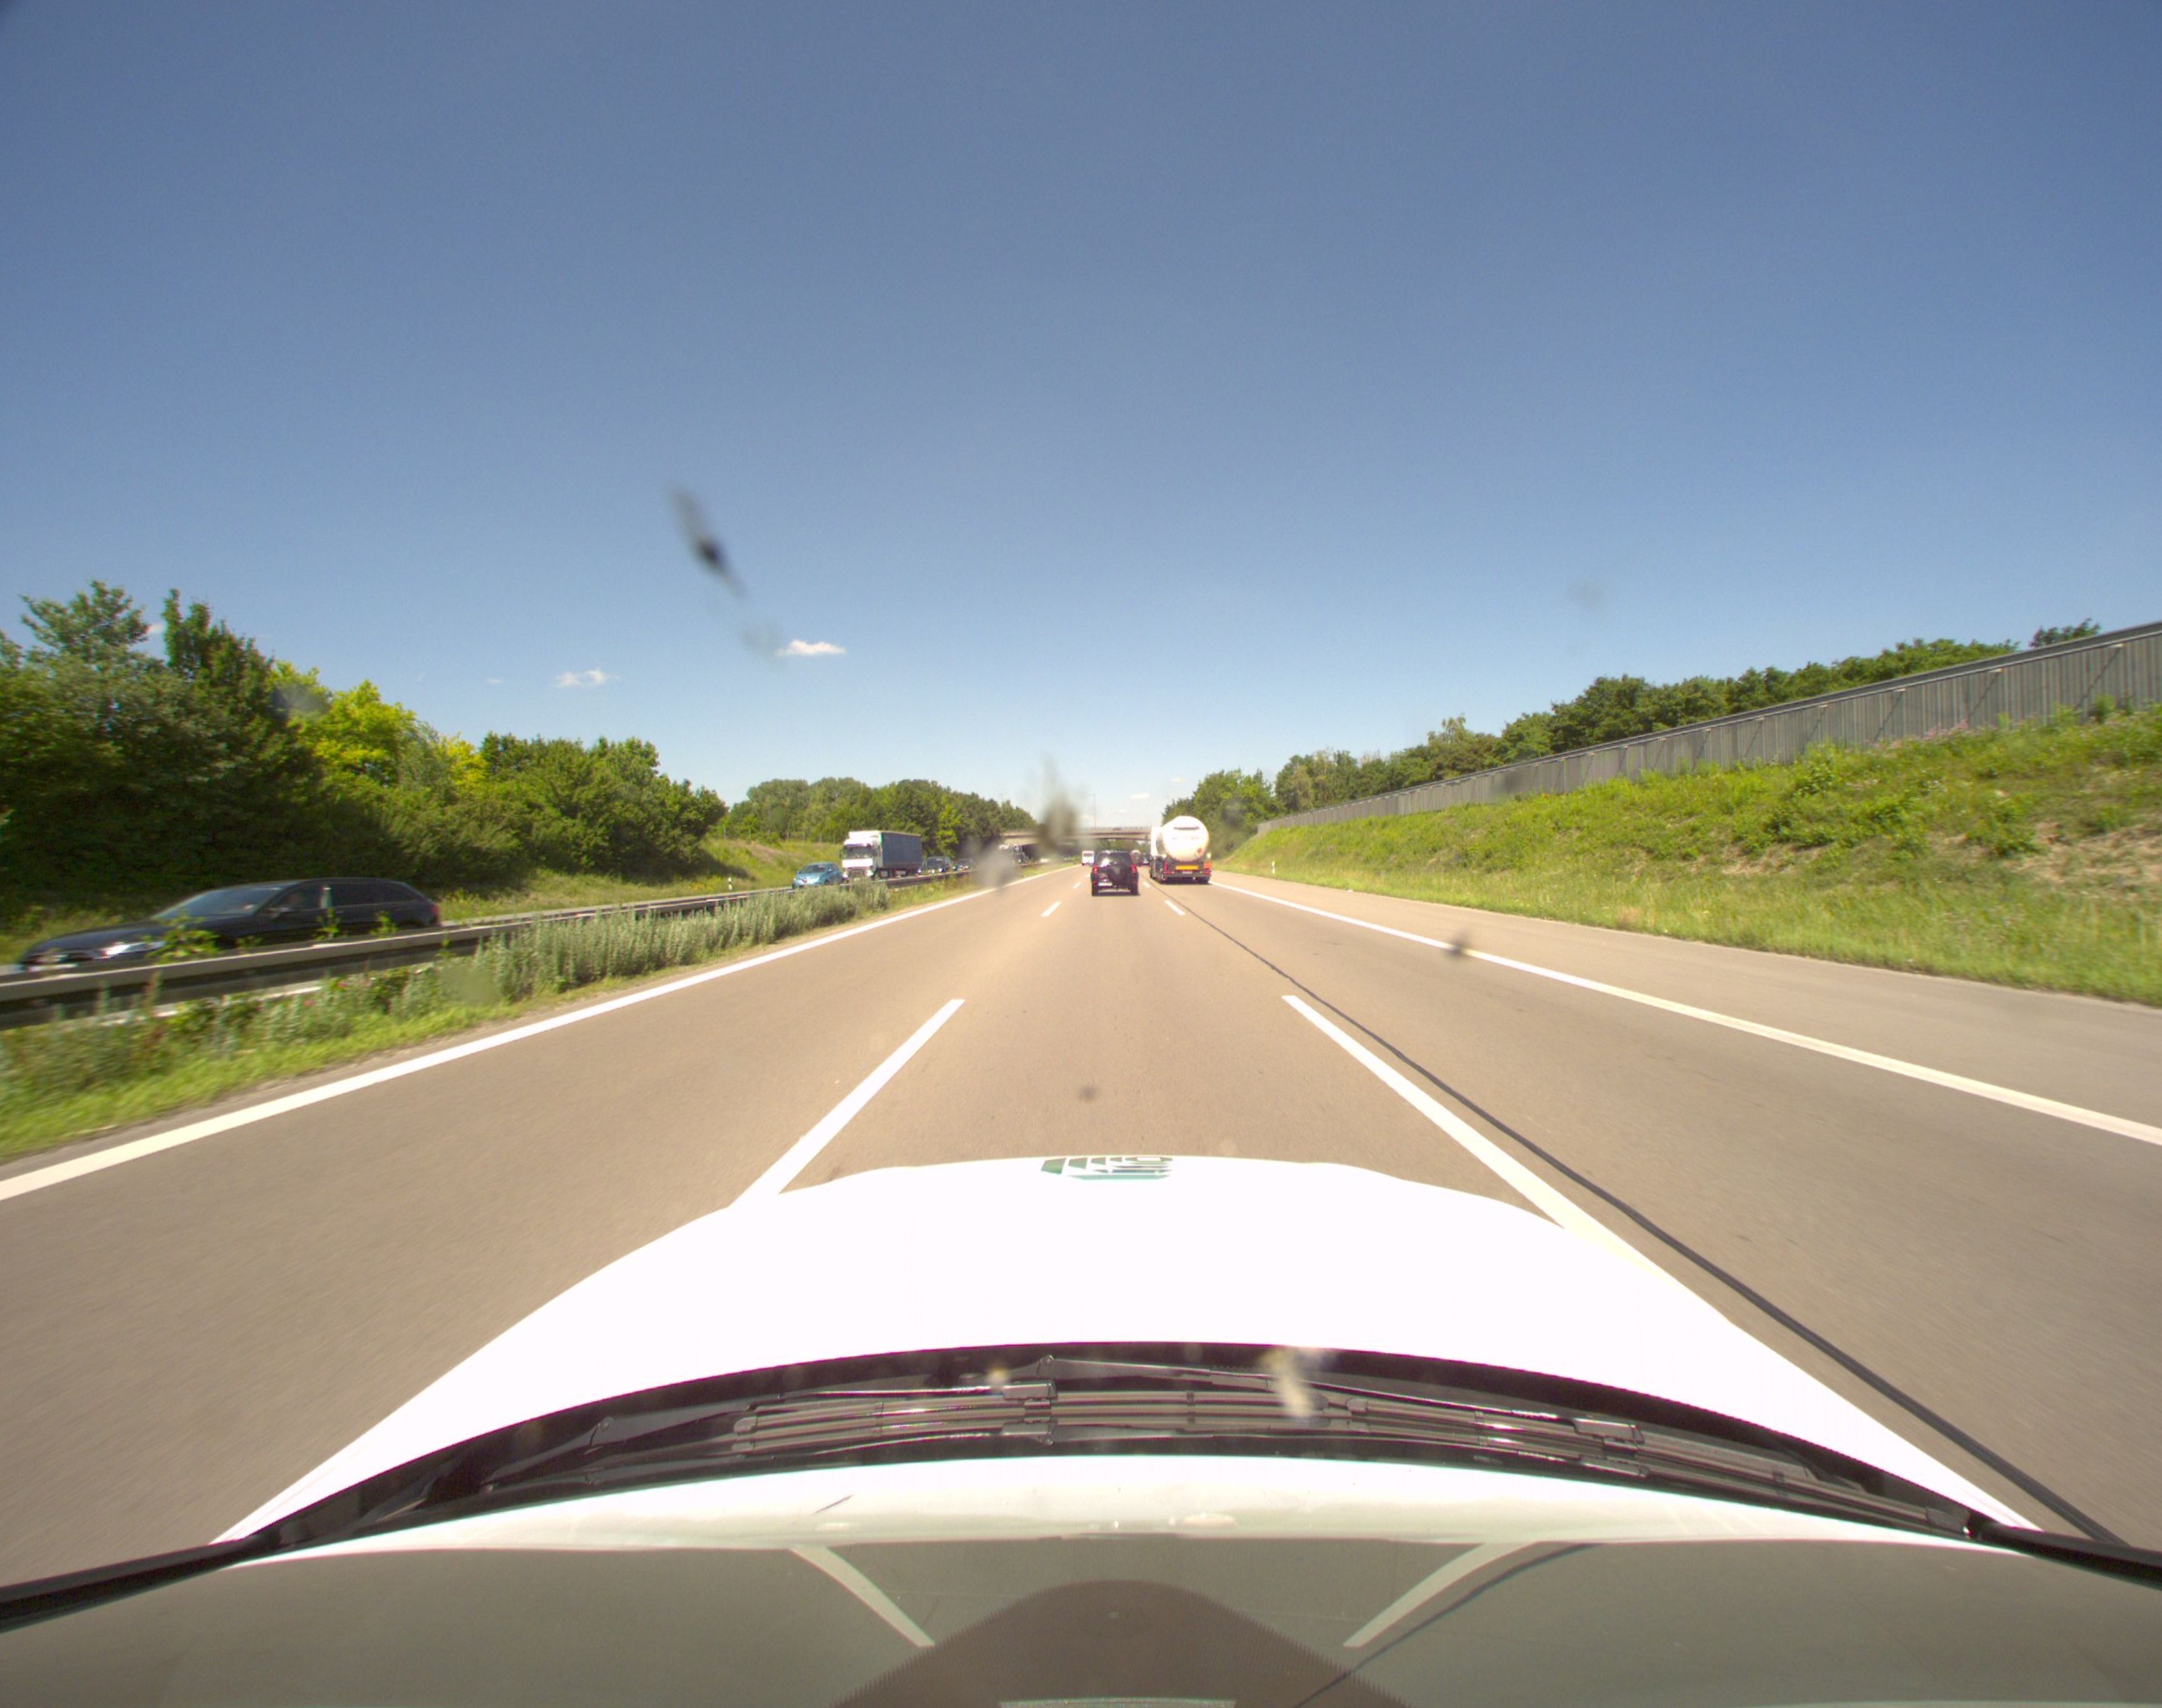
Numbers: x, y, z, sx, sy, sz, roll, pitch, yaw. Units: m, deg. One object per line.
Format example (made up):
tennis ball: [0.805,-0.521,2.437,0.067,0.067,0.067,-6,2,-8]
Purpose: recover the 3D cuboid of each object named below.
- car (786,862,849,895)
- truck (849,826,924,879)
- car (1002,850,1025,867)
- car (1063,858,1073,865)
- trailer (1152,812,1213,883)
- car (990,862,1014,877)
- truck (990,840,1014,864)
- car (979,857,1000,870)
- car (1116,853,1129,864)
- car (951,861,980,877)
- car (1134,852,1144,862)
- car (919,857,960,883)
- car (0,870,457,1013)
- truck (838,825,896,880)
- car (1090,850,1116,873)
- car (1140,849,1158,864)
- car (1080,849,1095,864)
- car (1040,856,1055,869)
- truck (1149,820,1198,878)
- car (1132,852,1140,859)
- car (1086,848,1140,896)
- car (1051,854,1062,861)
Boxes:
car: [-13.675,1.239,42.511,1.788,1.510,4.351,-2,0,1]
truck: [-16.972,-0.117,72.390,2.662,4.078,13.964,-3,0,2]
car: [-8.044,0.516,97.739,2.082,1.945,5.692,-2,0,2]
car: [-2.834,1.651,182.331,1.842,1.574,4.425,-1,-1,3]
trailer: [5.352,-0.305,44.715,2.637,3.390,11.161,0,0,3]
car: [-8.508,1.667,87.646,1.867,1.439,5.021,-2,0,2]
truck: [-14.103,-0.387,145.254,3.229,4.050,7.396,-2,0,1]
car: [-12.029,1.245,107.658,1.957,1.641,4.898,-2,0,2]
car: [6.339,0.658,123.040,1.834,1.611,4.004,-1,-1,4]
car: [-11.884,1.533,84.152,1.986,1.509,5.210,-2,0,2]
car: [11.225,0.561,157.646,1.985,1.779,4.265,-2,0,4]
car: [-9.551,1.037,55.445,1.852,1.600,4.722,-2,0,1]
car: [-11.766,1.053,11.629,1.888,1.427,4.764,-4,0,1]
truck: [-17.149,-0.097,65.683,2.662,4.078,6.078,-3,0,2]
car: [1.780,0.587,66.420,1.987,1.706,4.336,-2,0,1]
car: [8.231,0.270,98.738,1.985,1.684,4.002,-1,-1,2]
car: [0.896,0.339,115.037,1.986,2.013,4.951,-2,0,1]
car: [-5.609,1.440,135.534,1.986,2.014,4.916,-1,-1,2]
truck: [5.659,-0.309,50.847,2.627,3.375,6.492,0,0,3]
car: [15.147,0.391,224.613,1.805,1.746,4.001,-2,0,1]
car: [1.218,0.664,31.396,1.899,1.665,4.002,-1,0,2]
car: [-4.928,0.676,164.659,1.709,1.390,4.003,-2,0,3]
